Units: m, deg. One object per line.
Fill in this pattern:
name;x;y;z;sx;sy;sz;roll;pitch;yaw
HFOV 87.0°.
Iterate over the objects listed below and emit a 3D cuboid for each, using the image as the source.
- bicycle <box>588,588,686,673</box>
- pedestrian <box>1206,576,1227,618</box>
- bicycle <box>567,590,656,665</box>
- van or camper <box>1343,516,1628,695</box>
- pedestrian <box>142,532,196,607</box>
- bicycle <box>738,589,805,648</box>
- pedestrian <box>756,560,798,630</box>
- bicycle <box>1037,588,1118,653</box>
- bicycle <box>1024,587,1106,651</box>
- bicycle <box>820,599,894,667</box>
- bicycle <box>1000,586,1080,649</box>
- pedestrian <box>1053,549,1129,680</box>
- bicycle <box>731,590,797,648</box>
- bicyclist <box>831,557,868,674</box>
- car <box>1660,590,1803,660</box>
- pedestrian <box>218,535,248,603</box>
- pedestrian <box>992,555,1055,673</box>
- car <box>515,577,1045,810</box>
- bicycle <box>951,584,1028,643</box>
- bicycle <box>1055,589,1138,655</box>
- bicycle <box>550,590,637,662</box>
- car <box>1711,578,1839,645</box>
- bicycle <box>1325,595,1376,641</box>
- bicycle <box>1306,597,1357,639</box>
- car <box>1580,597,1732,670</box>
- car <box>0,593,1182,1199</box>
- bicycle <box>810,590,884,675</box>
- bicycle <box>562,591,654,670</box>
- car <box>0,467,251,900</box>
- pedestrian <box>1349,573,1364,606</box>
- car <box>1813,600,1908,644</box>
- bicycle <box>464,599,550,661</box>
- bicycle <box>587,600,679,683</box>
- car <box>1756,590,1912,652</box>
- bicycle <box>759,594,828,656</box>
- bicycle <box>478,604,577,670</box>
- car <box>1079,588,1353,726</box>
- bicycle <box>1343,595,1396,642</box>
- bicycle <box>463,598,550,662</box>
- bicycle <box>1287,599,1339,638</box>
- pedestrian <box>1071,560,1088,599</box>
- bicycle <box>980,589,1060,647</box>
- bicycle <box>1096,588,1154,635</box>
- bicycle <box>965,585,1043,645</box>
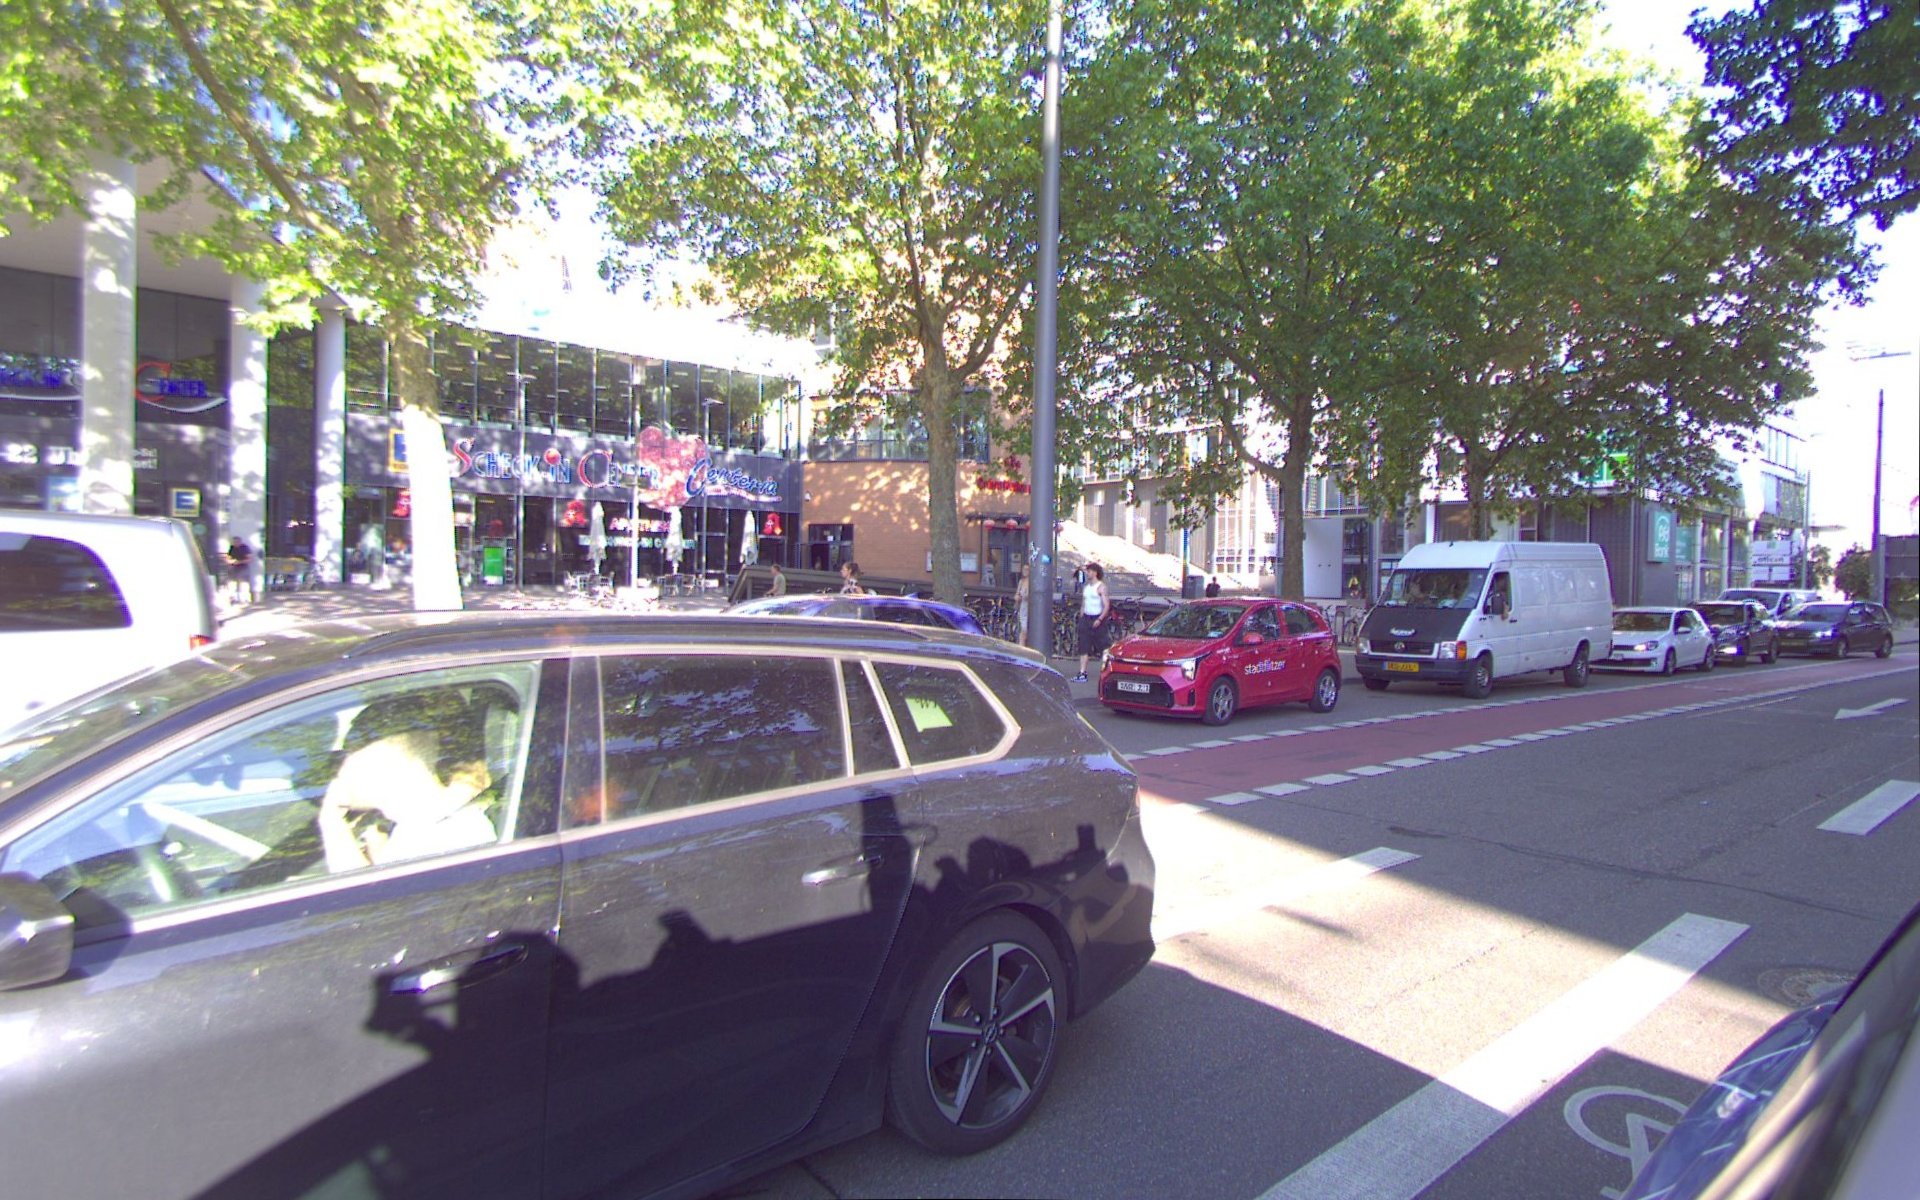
bicycle;-4.427;0.399;13.894;1.202;1.110;0.413;0;1;-40
pedestrian;9.889;-0.118;39.045;0.707;1.578;0.638;1;1;14
bicycle;-5.351;0.406;15.598;0.372;1.110;1.269;2;1;41
van or camper;9.313;0.067;17.585;6.456;2.611;1.998;0;0;-39
pedestrian;-19.241;-0.742;24.617;0.873;1.805;0.601;1;1;11
bicycle;-3.635;0.343;19.515;1.202;1.110;0.444;0;1;-40
pedestrian;-4.592;-0.138;25.410;0.795;1.728;0.714;1;1;18
bicycle;2.307;0.387;19.761;1.818;1.209;0.448;0;1;-41
bicycle;2.118;0.362;20.269;1.818;1.209;0.484;0;1;-41
bicycle;-1.734;0.538;17.115;1.202;1.110;0.420;0;1;-40
bicycle;1.637;0.339;20.530;1.818;1.209;0.447;0;1;-41
pedestrian;1.970;0.205;15.189;0.642;1.867;0.801;7;4;45
bicycle;-3.879;0.372;20.059;1.202;1.110;0.429;0;1;-40
bicyclist;-1.715;0.230;15.736;0.392;1.782;0.390;0;1;-41
car;19.711;0.589;25.806;4.148;1.640;1.819;0;1;-36
pedestrian;-18.786;-0.798;26.166;0.506;1.707;0.604;1;1;-23
pedestrian;1.002;0.209;15.973;0.646;1.799;0.752;2;1;43
car;-1.356;0.594;8.675;4.177;1.503;1.742;0;2;-41
bicycle;0.645;0.271;21.711;1.818;1.209;0.434;0;1;-41
bicycle;2.629;0.398;19.375;1.818;1.209;0.481;0;1;-41
bicycle;-5.914;0.402;16.376;0.414;1.110;1.269;2;1;41
car;26.545;0.343;32.917;4.863;2.020;1.968;0;1;-35
bicycle;10.672;0.484;27.642;1.818;1.209;0.495;0;2;-41
bicycle;10.317;0.483;28.054;1.766;1.108;0.522;0;2;-41
car;15.341;0.677;22.248;3.927;1.446;1.683;0;1;-38
car;-1.450;0.701;2.447;4.196;1.432;1.742;0;0;-41
bicycle;-1.752;0.483;15.766;1.126;1.271;0.379;0;1;-41
bicycle;-5.149;0.424;14.850;1.202;1.110;0.396;0;1;-40
car;-6.229;0.358;4.382;5.008;2.004;1.940;0;2;-41
pedestrian;26.355;-0.698;67.206;0.826;2.183;0.852;2;1;26
car;31.629;0.732;35.527;3.927;1.394;1.802;0;2;-38
bicycle;-7.113;0.463;15.931;1.198;0.938;0.465;1;1;-22
bicycle;-4.572;0.564;14.191;1.202;1.110;0.269;0;1;-40
car;25.166;0.577;29.127;4.242;1.640;1.970;0;1;-28
bicycle;-3.091;0.444;18.860;1.202;1.110;0.427;0;1;-40
bicycle;-6.230;0.519;14.606;1.231;0.898;0.462;0;1;-40
car;3.317;0.608;12.793;3.588;1.476;1.605;0;1;-41
bicycle;11.041;0.477;27.243;1.818;1.209;0.521;0;2;-41
bicycle;-6.950;0.454;15.553;1.198;0.930;0.442;1;1;-22
bicycle;9.933;0.504;28.465;1.818;1.046;0.515;0;2;-41
pedestrian;6.357;-1.088;54.030;0.861;2.062;0.585;1;1;6
bicycle;1.264;0.351;20.979;1.818;1.139;0.484;0;2;-41
bicycle;4.421;0.306;27.049;1.759;1.209;0.517;0;2;-41
bicycle;0.943;0.296;21.358;1.818;1.209;0.458;0;1;-41
